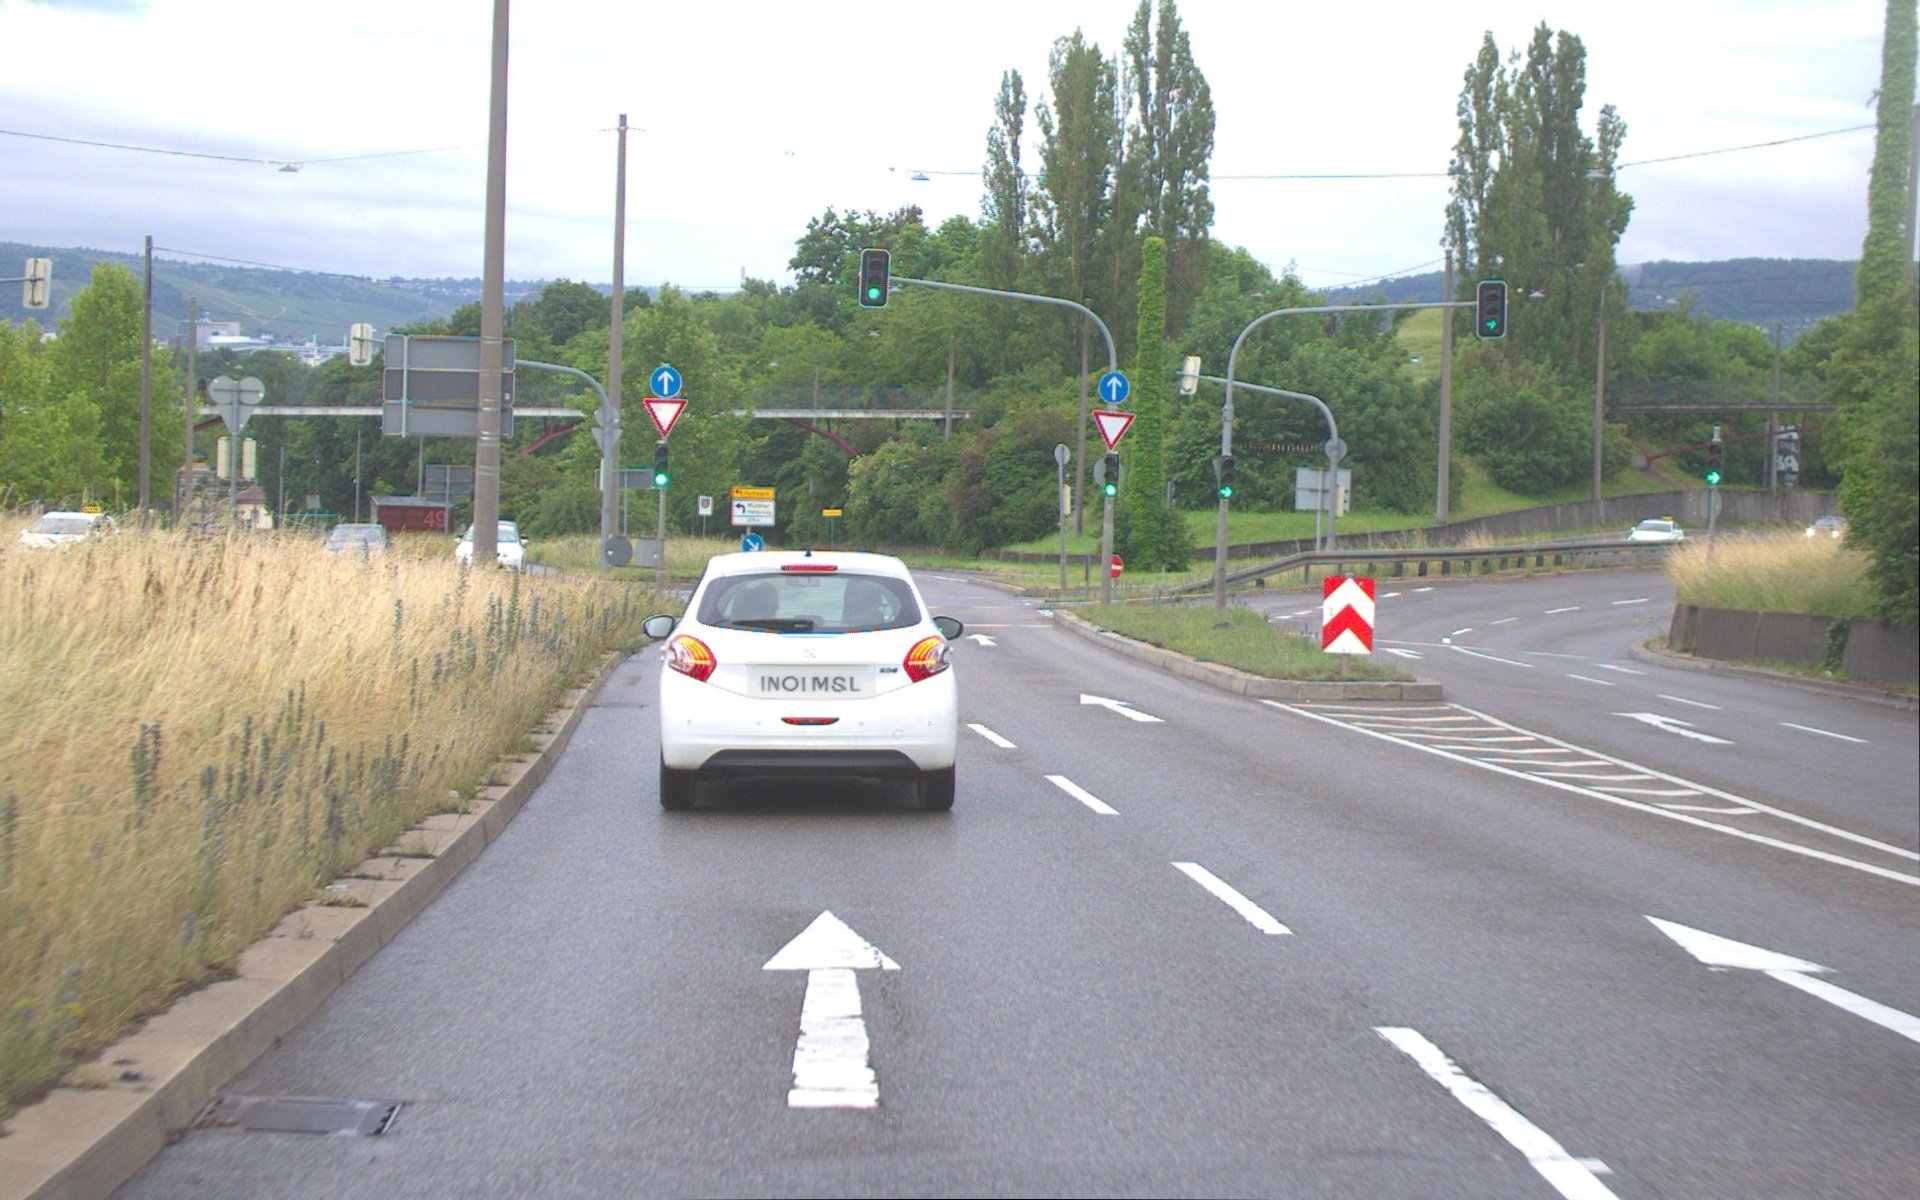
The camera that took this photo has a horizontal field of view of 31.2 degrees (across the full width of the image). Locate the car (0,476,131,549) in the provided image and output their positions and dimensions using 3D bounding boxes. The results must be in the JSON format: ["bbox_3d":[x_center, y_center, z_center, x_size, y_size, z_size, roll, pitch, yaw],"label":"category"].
[{"bbox_3d":[-21.676,-2.098,83.445,1.885,1.605,4.676,2,0,0],"label":"car"}]

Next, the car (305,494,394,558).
[{"bbox_3d":[-15.871,-1.913,89.562,1.895,1.532,4.001,2,0,-5],"label":"car"}]

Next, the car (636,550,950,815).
[{"bbox_3d":[-0.926,0.435,20.592,1.708,1.435,3.690,0,0,0],"label":"car"}]

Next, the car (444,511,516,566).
[{"bbox_3d":[-12.839,-1.633,92.149,1.737,1.368,4.001,2,0,-6],"label":"car"}]
